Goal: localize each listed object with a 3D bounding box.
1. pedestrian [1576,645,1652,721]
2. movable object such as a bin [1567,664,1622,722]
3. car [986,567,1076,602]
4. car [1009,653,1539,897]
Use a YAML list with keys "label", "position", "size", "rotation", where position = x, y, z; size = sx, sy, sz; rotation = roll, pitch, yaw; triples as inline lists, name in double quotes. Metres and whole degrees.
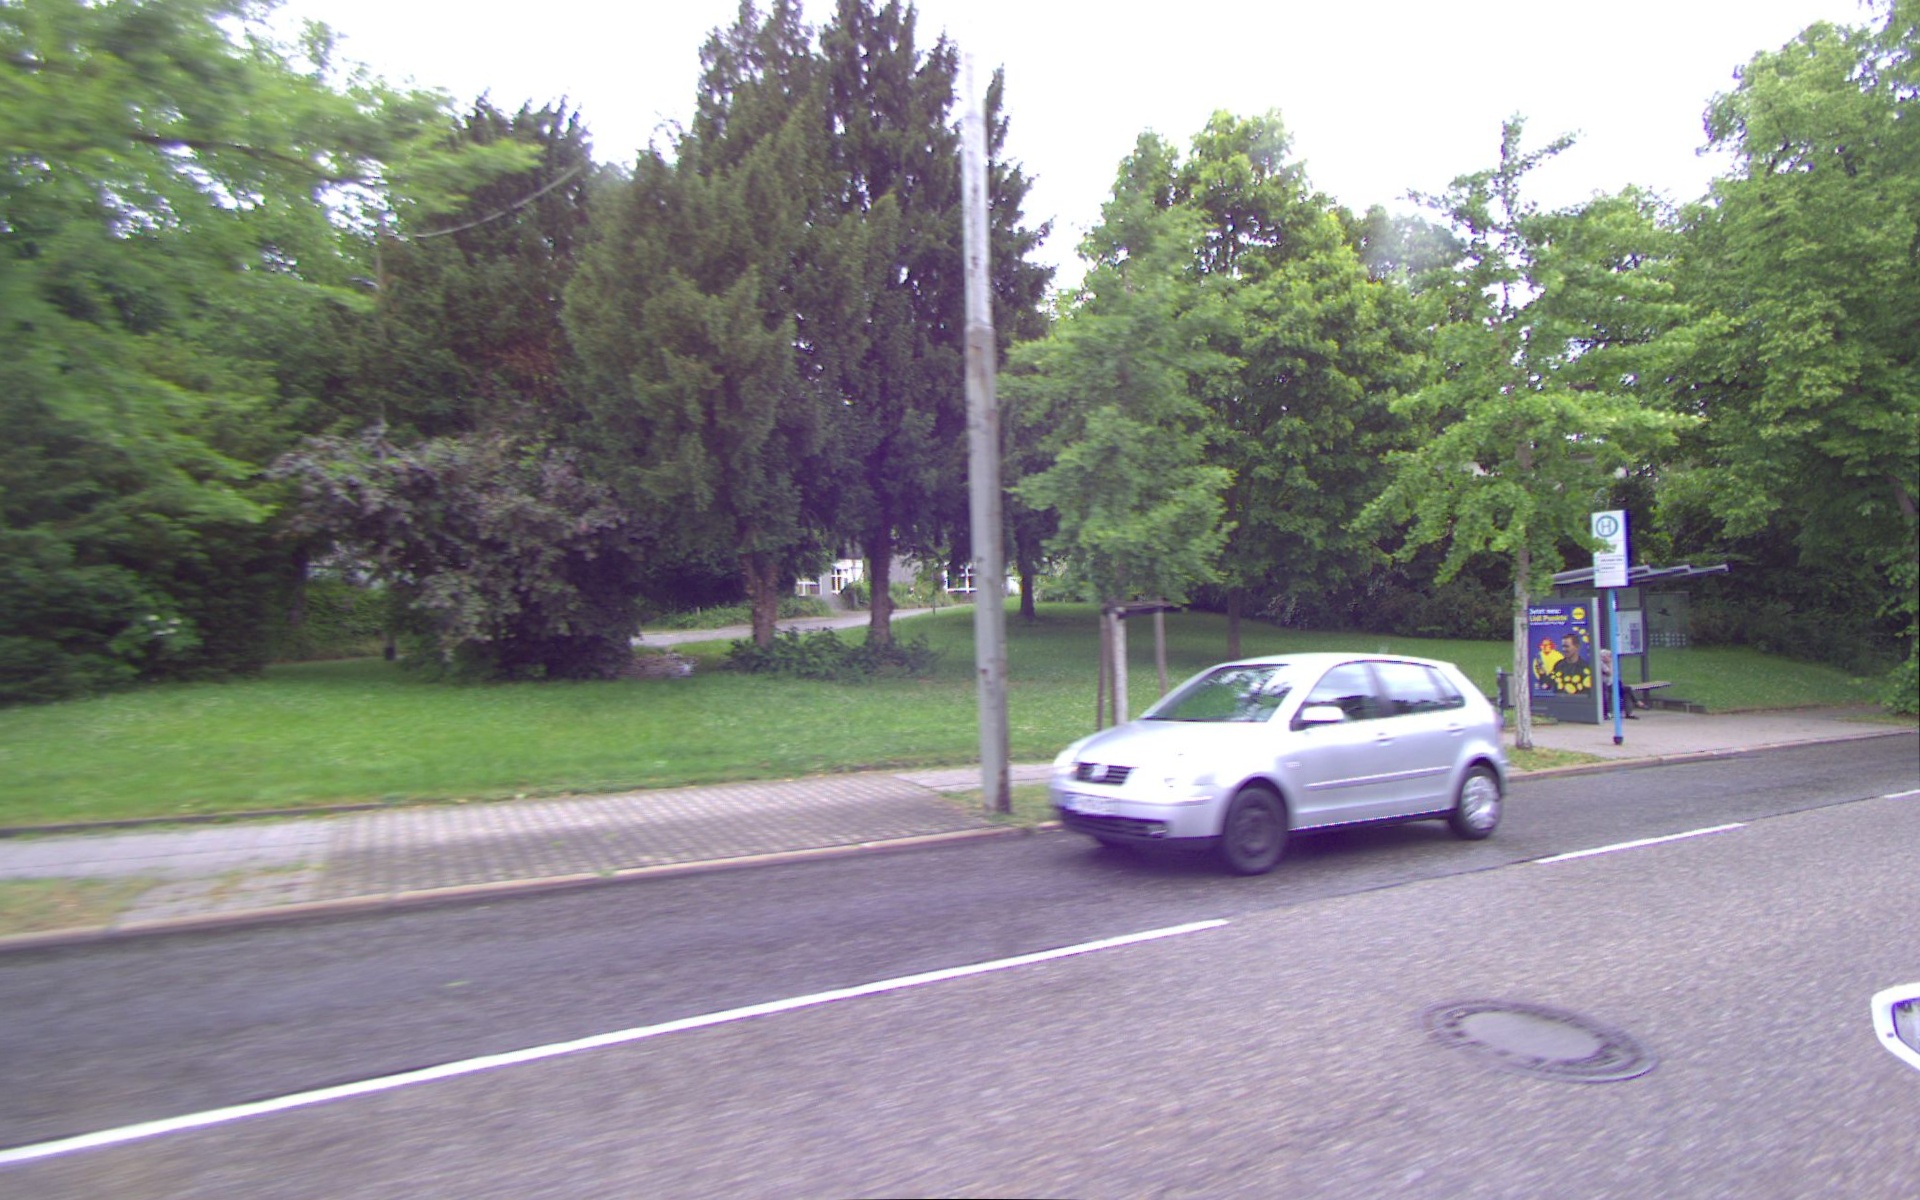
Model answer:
- label: "pedestrian"
  position: [13.202, 1.651, 20.292]
  size: [0.905, 1.422, 0.935]
  rotation: [0, 1, -23]
- label: "movable object such as a bin"
  position: [12.575, 1.837, 19.908]
  size: [0.492, 1.057, 0.760]
  rotation: [0, 1, -23]
- label: "car"
  position: [3.340, -0.705, 47.514]
  size: [3.848, 1.505, 1.928]
  rotation: [-1, -2, 38]
- label: "car"
  position: [2.500, 1.153, 7.803]
  size: [3.953, 1.417, 1.714]
  rotation: [1, -4, -30]
